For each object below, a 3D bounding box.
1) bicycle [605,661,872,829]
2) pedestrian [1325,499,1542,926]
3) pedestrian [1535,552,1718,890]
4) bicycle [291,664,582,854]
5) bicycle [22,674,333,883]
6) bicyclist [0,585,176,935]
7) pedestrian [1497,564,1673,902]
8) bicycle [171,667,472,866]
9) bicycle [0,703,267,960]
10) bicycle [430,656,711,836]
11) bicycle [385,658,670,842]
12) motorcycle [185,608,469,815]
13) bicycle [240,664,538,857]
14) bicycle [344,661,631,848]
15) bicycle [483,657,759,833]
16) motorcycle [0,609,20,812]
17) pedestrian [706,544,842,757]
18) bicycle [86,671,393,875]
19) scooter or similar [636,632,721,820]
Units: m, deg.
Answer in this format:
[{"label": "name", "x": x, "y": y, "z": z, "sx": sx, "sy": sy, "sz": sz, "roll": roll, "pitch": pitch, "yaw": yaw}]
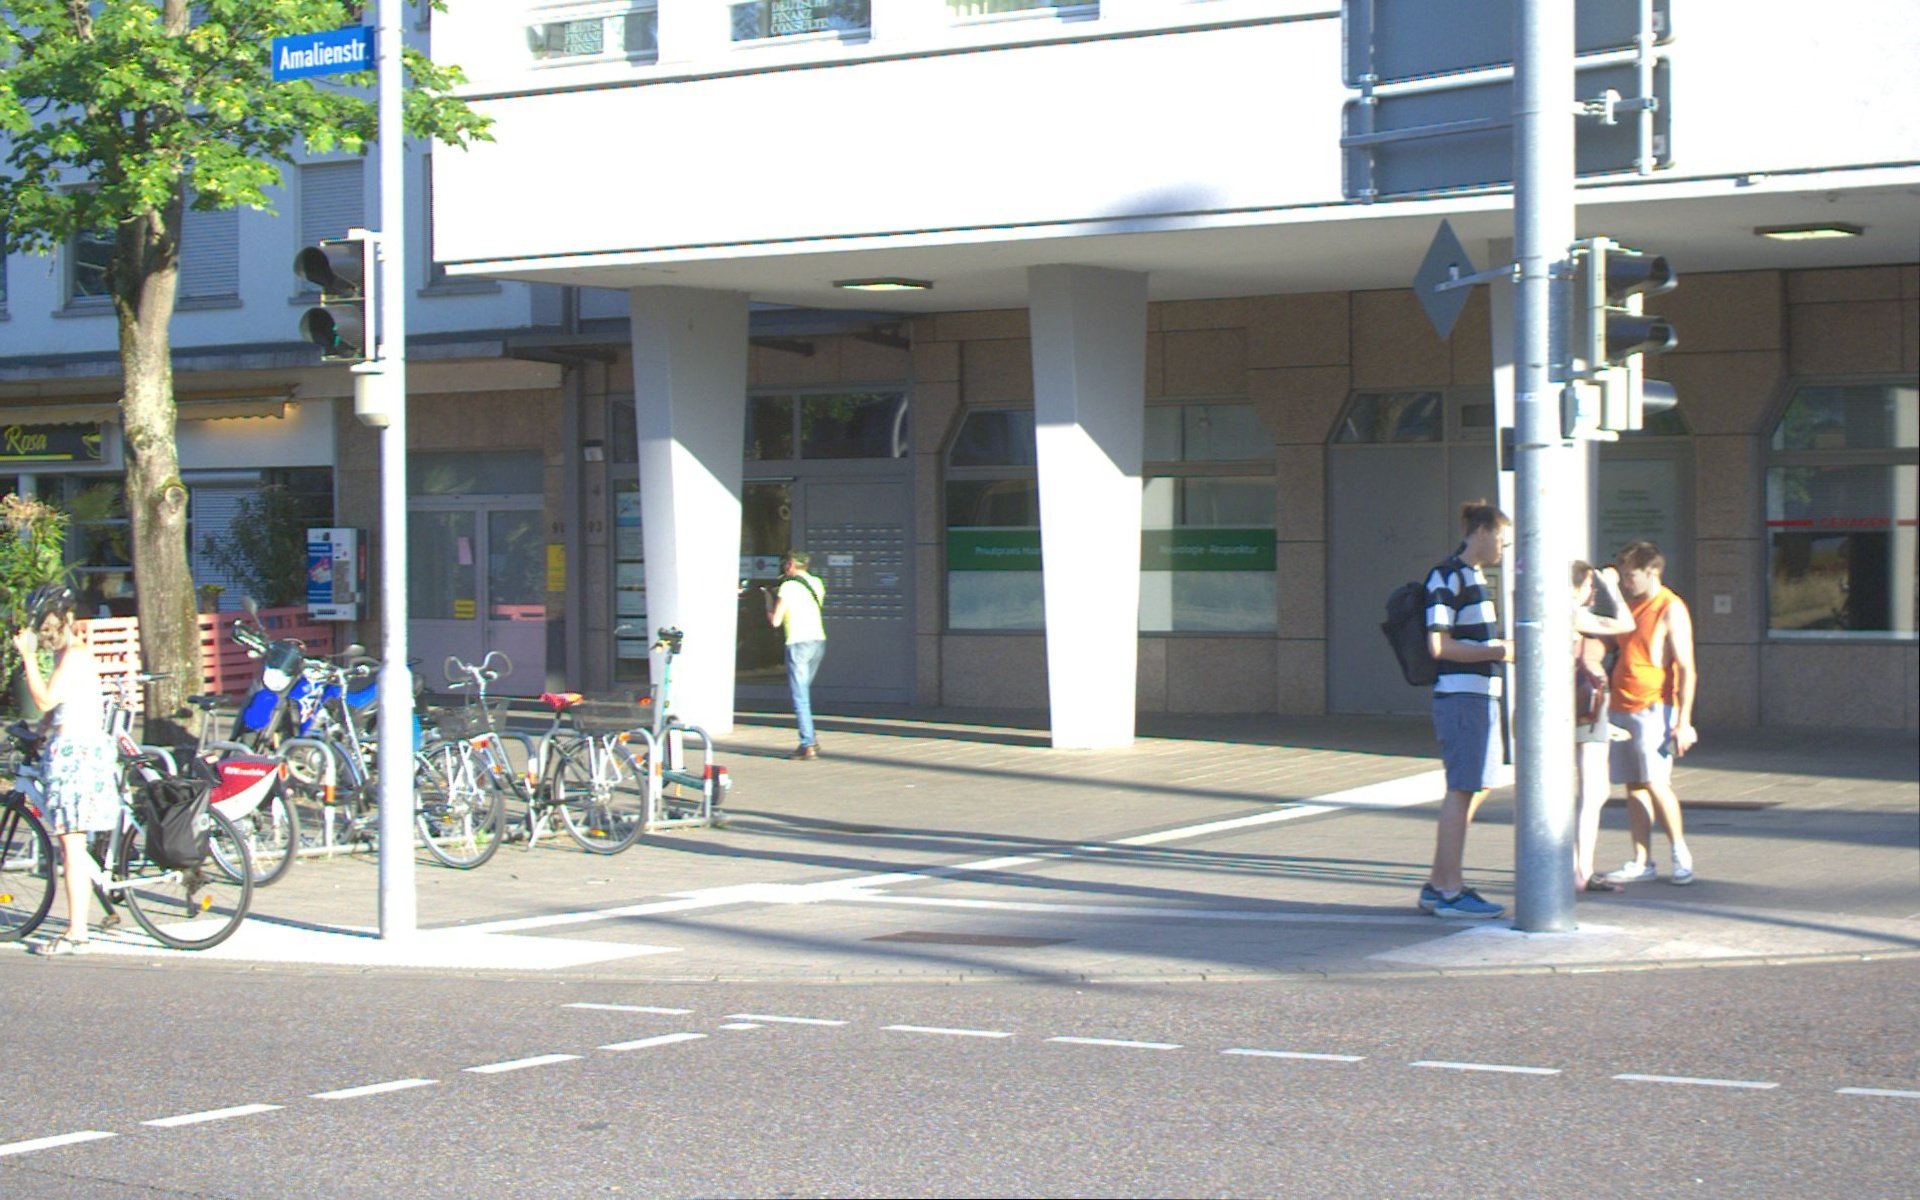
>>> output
[{"label": "bicycle", "x": -1.462, "y": 0.939, "z": 22.556, "sx": 1.791, "sy": 1.024, "sz": 0.364, "roll": 1, "pitch": 0, "yaw": 26}, {"label": "pedestrian", "x": 2.234, "y": 0.504, "z": 16.186, "sx": 0.846, "sy": 1.950, "sz": 0.701, "roll": 0, "pitch": 1, "yaw": 24}, {"label": "pedestrian", "x": 3.424, "y": 0.601, "z": 17.662, "sx": 0.772, "sy": 1.687, "sz": 0.517, "roll": 1, "pitch": 1, "yaw": 37}, {"label": "bicycle", "x": -3.057, "y": 0.908, "z": 20.009, "sx": 1.791, "sy": 1.024, "sz": 0.360, "roll": 1, "pitch": 0, "yaw": 27}, {"label": "bicycle", "x": -4.181, "y": 0.933, "z": 18.314, "sx": 1.791, "sy": 1.024, "sz": 0.360, "roll": 1, "pitch": 0, "yaw": 27}, {"label": "bicyclist", "x": -4.033, "y": 0.677, "z": 15.127, "sx": 0.805, "sy": 1.475, "sz": 0.797, "roll": 1, "pitch": 0, "yaw": 26}, {"label": "pedestrian", "x": 3.123, "y": 0.644, "z": 17.168, "sx": 0.707, "sy": 1.638, "sz": 0.517, "roll": 1, "pitch": 1, "yaw": 37}, {"label": "bicycle", "x": -3.576, "y": 0.912, "z": 19.188, "sx": 1.791, "sy": 1.024, "sz": 0.360, "roll": 1, "pitch": 0, "yaw": 27}, {"label": "bicycle", "x": -3.932, "y": 0.990, "z": 15.101, "sx": 1.791, "sy": 1.024, "sz": 0.515, "roll": 1, "pitch": 0, "yaw": 26}, {"label": "bicycle", "x": -2.401, "y": 0.882, "z": 21.097, "sx": 1.791, "sy": 1.024, "sz": 0.364, "roll": 1, "pitch": 0, "yaw": 26}, {"label": "bicycle", "x": -2.614, "y": 0.888, "z": 20.703, "sx": 1.791, "sy": 1.024, "sz": 0.364, "roll": 1, "pitch": 0, "yaw": 26}, {"label": "motorcycle", "x": -4.357, "y": 0.738, "z": 23.817, "sx": 0.642, "sy": 1.349, "sz": 2.144, "roll": 1, "pitch": 1, "yaw": 32}, {"label": "bicycle", "x": -3.270, "y": 0.900, "z": 19.630, "sx": 1.791, "sy": 1.024, "sz": 0.368, "roll": 1, "pitch": 0, "yaw": 26}, {"label": "bicycle", "x": -2.809, "y": 0.900, "z": 20.370, "sx": 1.791, "sy": 1.024, "sz": 0.360, "roll": 1, "pitch": 0, "yaw": 27}, {"label": "bicycle", "x": -2.136, "y": 0.894, "z": 21.552, "sx": 1.791, "sy": 1.024, "sz": 0.364, "roll": 1, "pitch": 0, "yaw": 26}, {"label": "motorcycle", "x": -7.257, "y": 0.714, "z": 23.394, "sx": 0.641, "sy": 1.339, "sz": 2.201, "roll": 0, "pitch": 1, "yaw": -45}, {"label": "pedestrian", "x": -1.530, "y": 0.404, "z": 28.308, "sx": 0.876, "sy": 1.719, "sz": 0.655, "roll": 1, "pitch": 0, "yaw": 31}, {"label": "bicycle", "x": -3.928, "y": 0.924, "z": 18.693, "sx": 1.791, "sy": 1.024, "sz": 0.360, "roll": 1, "pitch": 0, "yaw": 27}, {"label": "scooter or similar", "x": -2.009, "y": 0.875, "z": 24.446, "sx": 0.308, "sy": 1.259, "sz": 1.527, "roll": 1, "pitch": 0, "yaw": -15}]
